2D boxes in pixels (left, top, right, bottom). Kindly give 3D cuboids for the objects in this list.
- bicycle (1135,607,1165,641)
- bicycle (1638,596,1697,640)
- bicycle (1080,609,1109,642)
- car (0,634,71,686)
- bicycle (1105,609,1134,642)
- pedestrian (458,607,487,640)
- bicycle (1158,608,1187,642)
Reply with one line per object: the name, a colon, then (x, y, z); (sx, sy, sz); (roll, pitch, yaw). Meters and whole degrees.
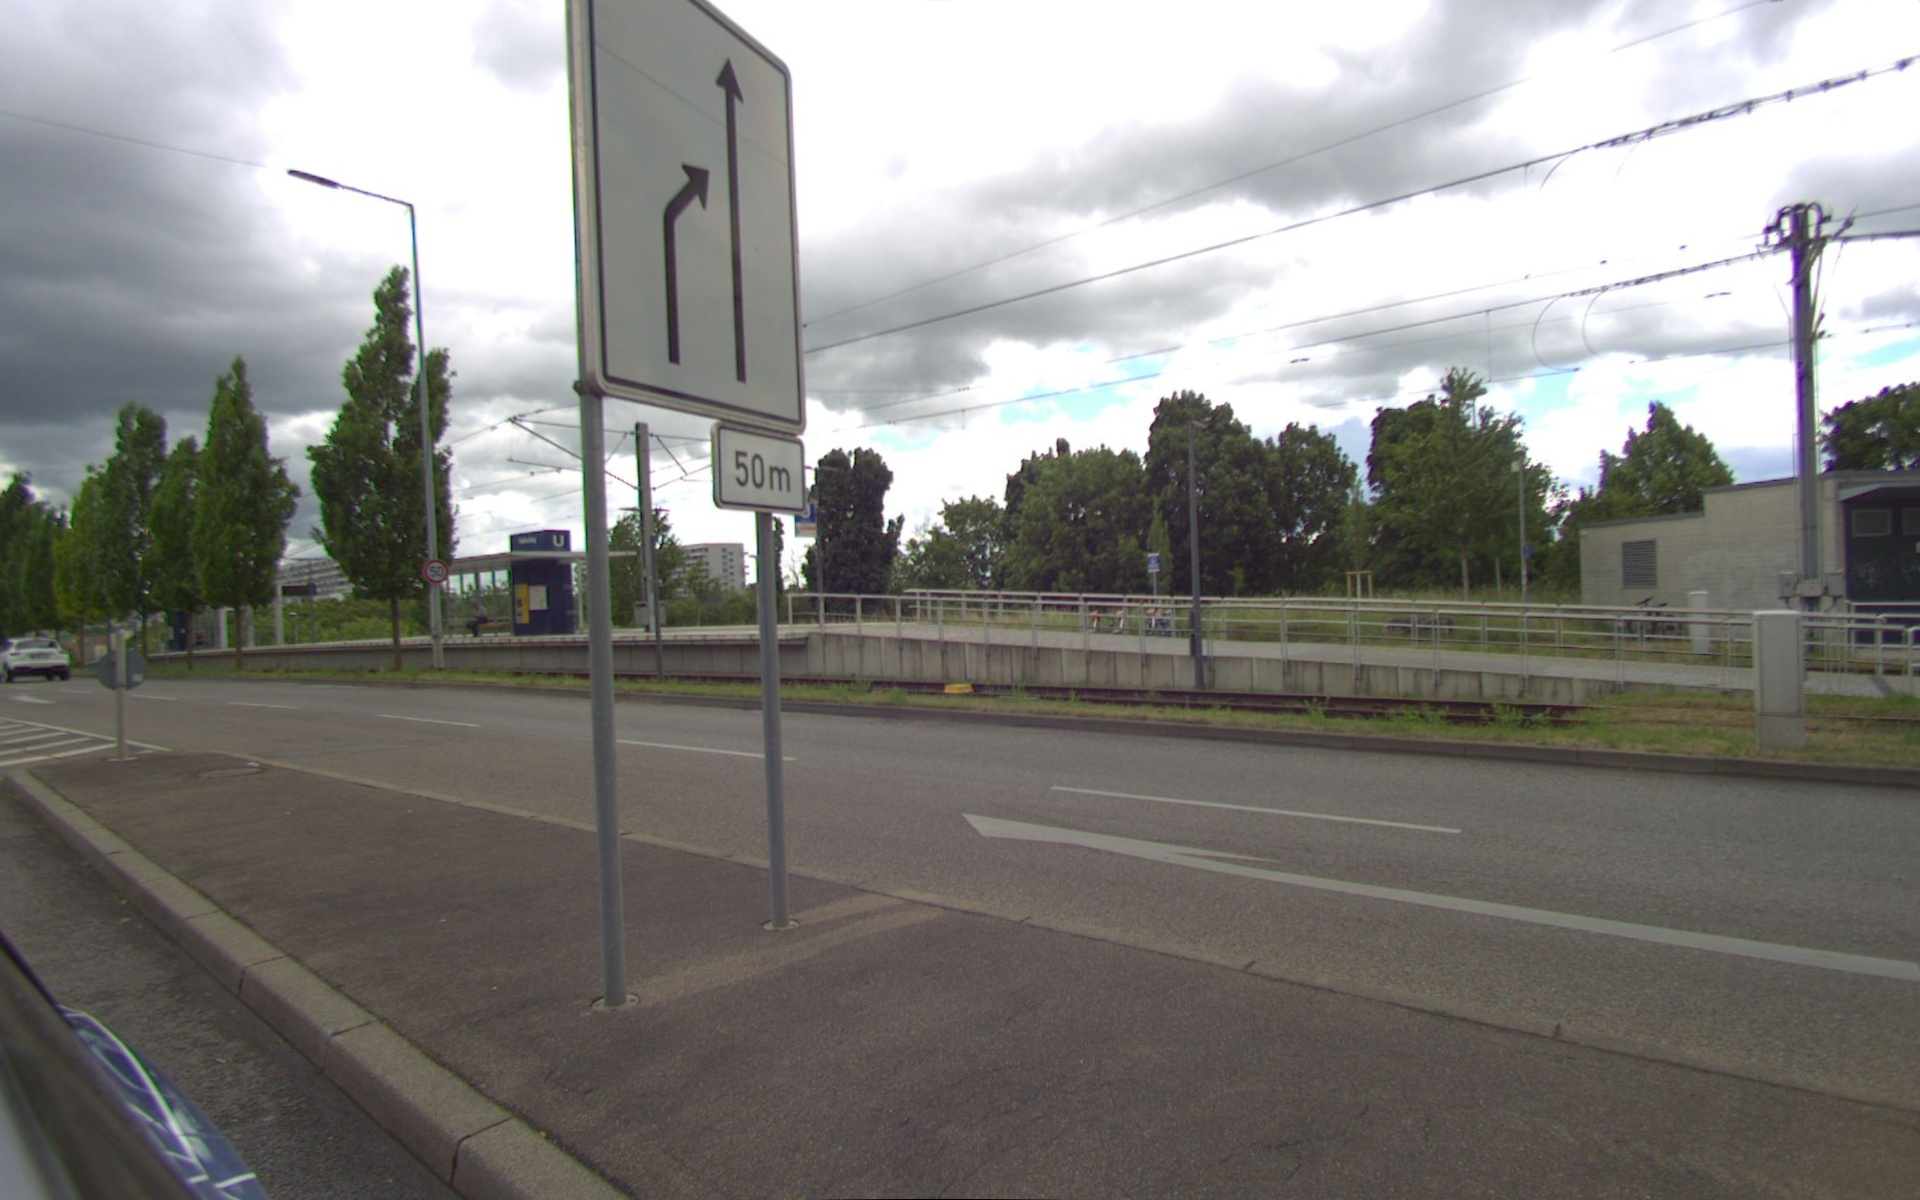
bicycle: (6.378, 0.805, 33.945); (0.490, 1.095, 1.466); (-2, -1, 30)
bicycle: (18.192, 0.455, 26.056); (0.486, 1.095, 1.480); (-1, -1, 3)
bicycle: (4.681, 0.889, 35.158); (0.490, 1.095, 1.466); (-2, -1, 30)
car: (-33.694, 2.199, 36.514); (4.422, 1.641, 1.810); (-6, -3, 40)
bicycle: (5.438, 0.864, 34.456); (0.490, 1.095, 1.466); (-2, -1, 30)
pedestrian: (-18.252, 0.874, 37.872); (0.781, 1.211, 0.656); (-2, -1, 33)
bicycle: (7.044, 0.812, 33.465); (0.490, 1.095, 1.466); (-2, -1, 30)
